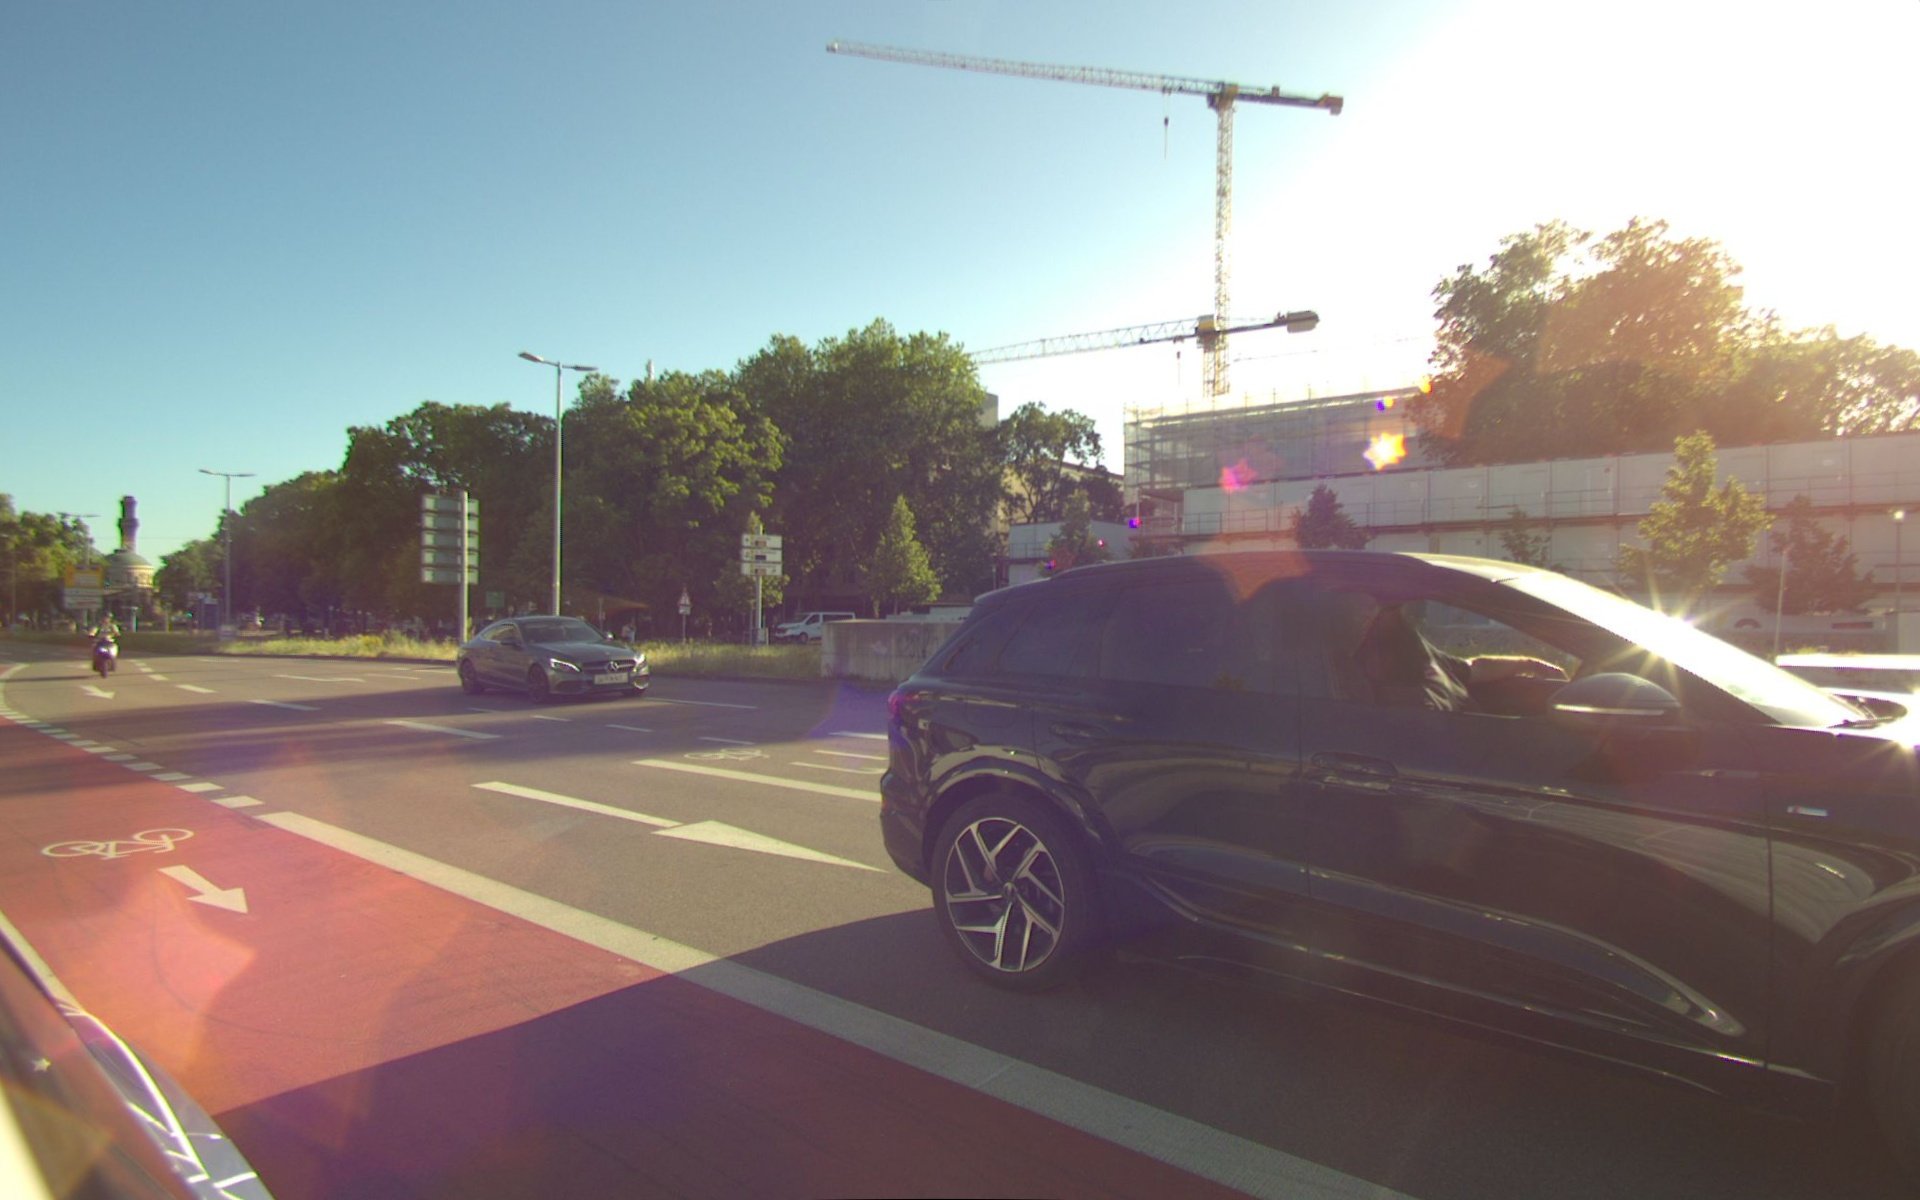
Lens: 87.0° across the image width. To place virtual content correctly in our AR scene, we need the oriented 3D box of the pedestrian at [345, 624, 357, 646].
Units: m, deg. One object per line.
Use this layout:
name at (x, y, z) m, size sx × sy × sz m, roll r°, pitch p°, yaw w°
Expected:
pedestrian at (-51.272, 2.922, 85.208) m, size 0.924 × 1.862 × 0.620 m, roll -1°, pitch -2°, yaw 40°

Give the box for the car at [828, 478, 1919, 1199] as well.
car at (1.810, 0.598, 3.569) m, size 4.612 × 1.656 × 1.913 m, roll -1°, pitch -1°, yaw 40°

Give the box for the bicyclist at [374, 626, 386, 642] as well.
bicyclist at (-46.287, 2.729, 80.749) m, size 0.714 × 1.291 × 0.603 m, roll -1°, pitch -2°, yaw 40°

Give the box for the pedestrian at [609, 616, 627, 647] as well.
pedestrian at (-19.332, 1.751, 57.214) m, size 0.762 × 1.738 × 0.698 m, roll -1°, pitch -2°, yaw 41°

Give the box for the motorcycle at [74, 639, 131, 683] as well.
motorcycle at (-21.797, 1.526, 25.705) m, size 0.961 × 1.022 × 2.269 m, roll -1°, pitch -1°, yaw -44°

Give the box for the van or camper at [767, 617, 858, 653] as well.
van or camper at (-8.963, 2.093, 61.914) m, size 1.948 × 2.029 × 5.576 m, roll -1°, pitch 0°, yaw 42°

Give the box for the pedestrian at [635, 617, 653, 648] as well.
pedestrian at (-18.309, 1.878, 58.616) m, size 0.762 × 1.738 × 0.698 m, roll -1°, pitch -2°, yaw 42°

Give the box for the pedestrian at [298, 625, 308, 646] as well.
pedestrian at (-60.615, 3.261, 93.436) m, size 0.733 × 1.862 × 0.561 m, roll -1°, pitch -2°, yaw 40°

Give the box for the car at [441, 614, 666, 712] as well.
car at (-7.138, 0.995, 17.525) m, size 4.490 × 1.417 × 1.971 m, roll -1°, pitch 0°, yaw 44°

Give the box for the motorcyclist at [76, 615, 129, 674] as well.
motorcyclist at (-21.669, 1.113, 25.573) m, size 0.961 × 1.424 × 1.059 m, roll -1°, pitch -1°, yaw -44°

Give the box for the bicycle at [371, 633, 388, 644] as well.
bicycle at (-46.289, 3.095, 80.739) m, size 1.744 × 0.849 × 0.602 m, roll -1°, pitch -2°, yaw 40°

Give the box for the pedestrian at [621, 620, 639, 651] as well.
pedestrian at (-18.881, 2.007, 57.839) m, size 0.762 × 1.738 × 0.656 m, roll -1°, pitch -2°, yaw 41°
